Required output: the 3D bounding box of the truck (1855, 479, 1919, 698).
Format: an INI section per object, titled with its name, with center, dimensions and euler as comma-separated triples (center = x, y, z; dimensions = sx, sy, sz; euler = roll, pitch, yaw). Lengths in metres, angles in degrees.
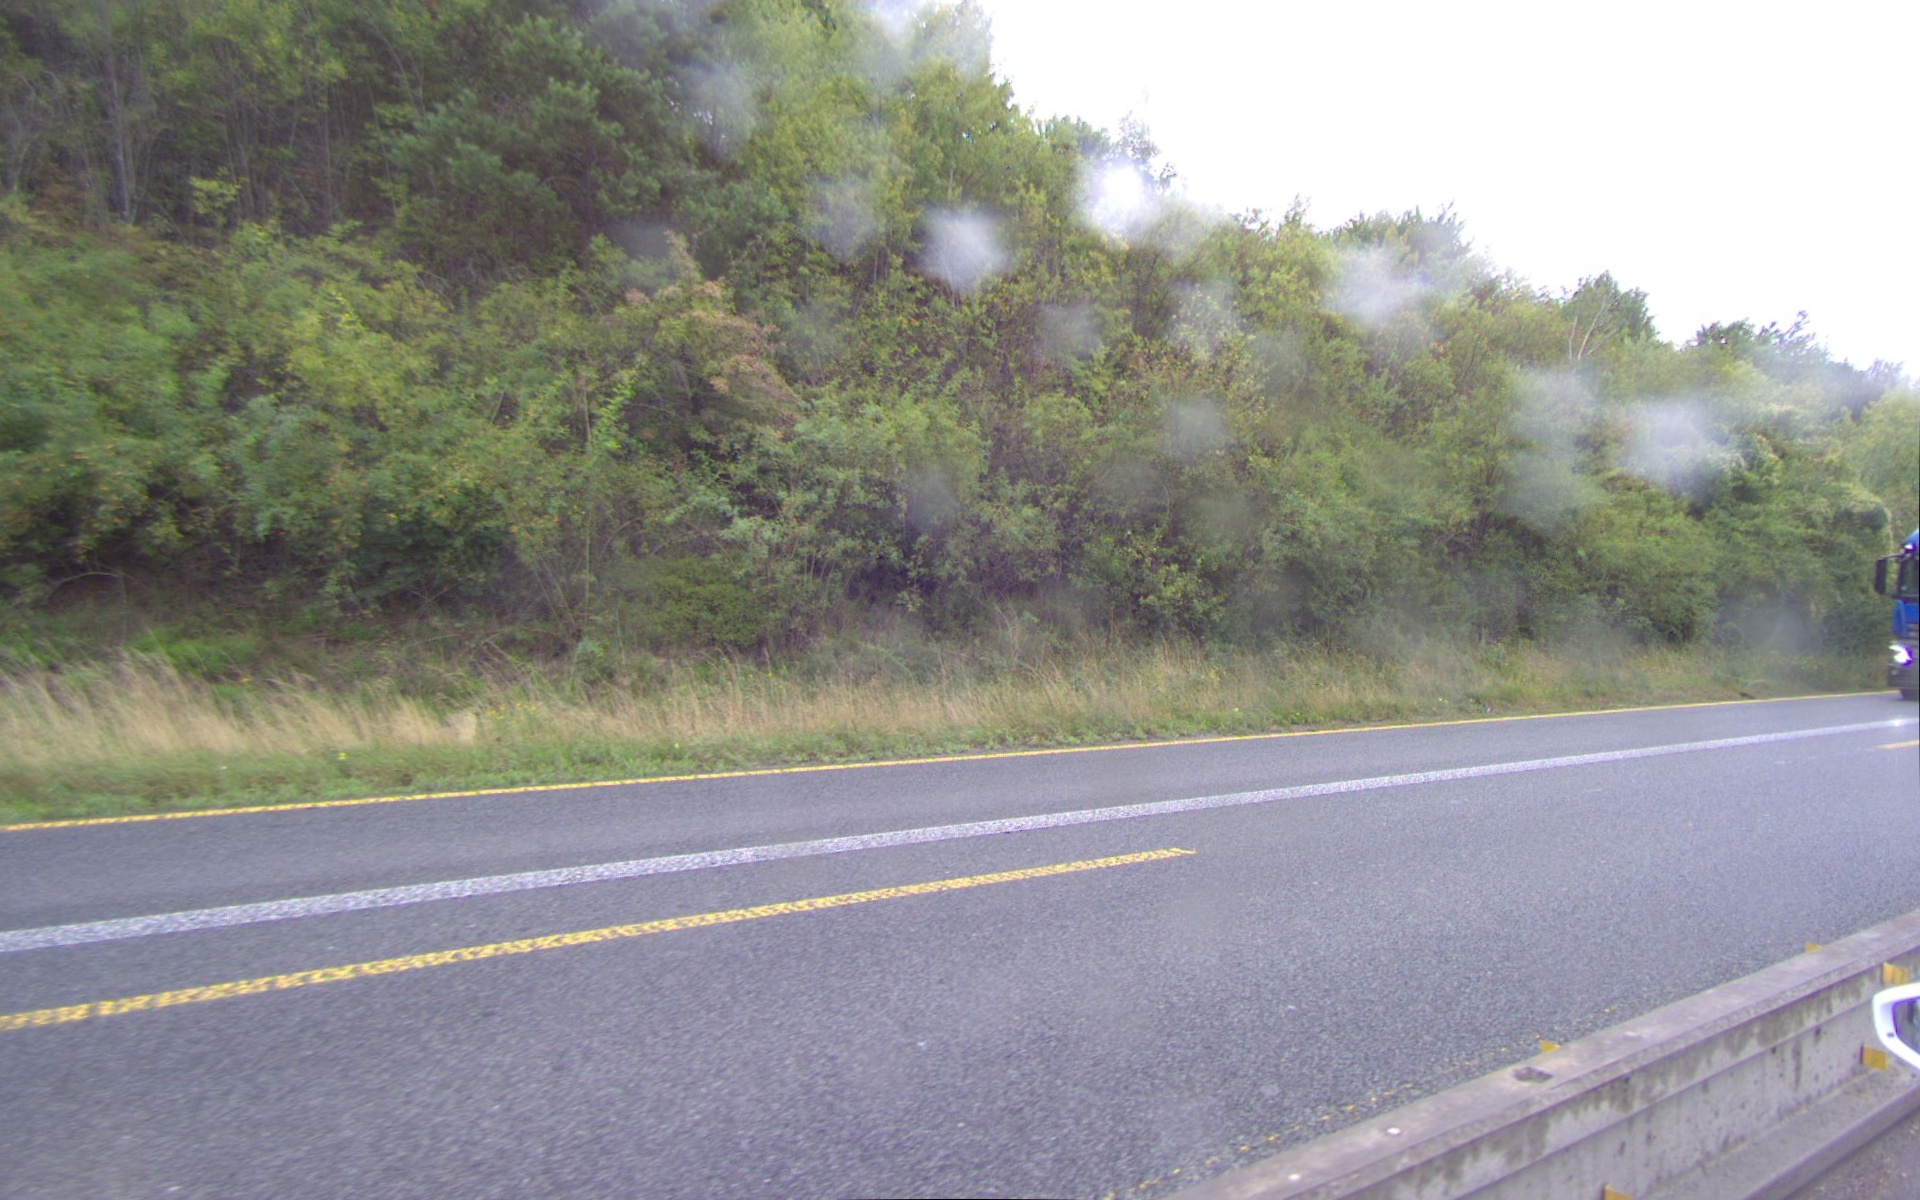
[truck]
center = 25.721, 0.011, 23.242
dimensions = 16.736, 4.178, 2.751
euler = 2, 0, -32
